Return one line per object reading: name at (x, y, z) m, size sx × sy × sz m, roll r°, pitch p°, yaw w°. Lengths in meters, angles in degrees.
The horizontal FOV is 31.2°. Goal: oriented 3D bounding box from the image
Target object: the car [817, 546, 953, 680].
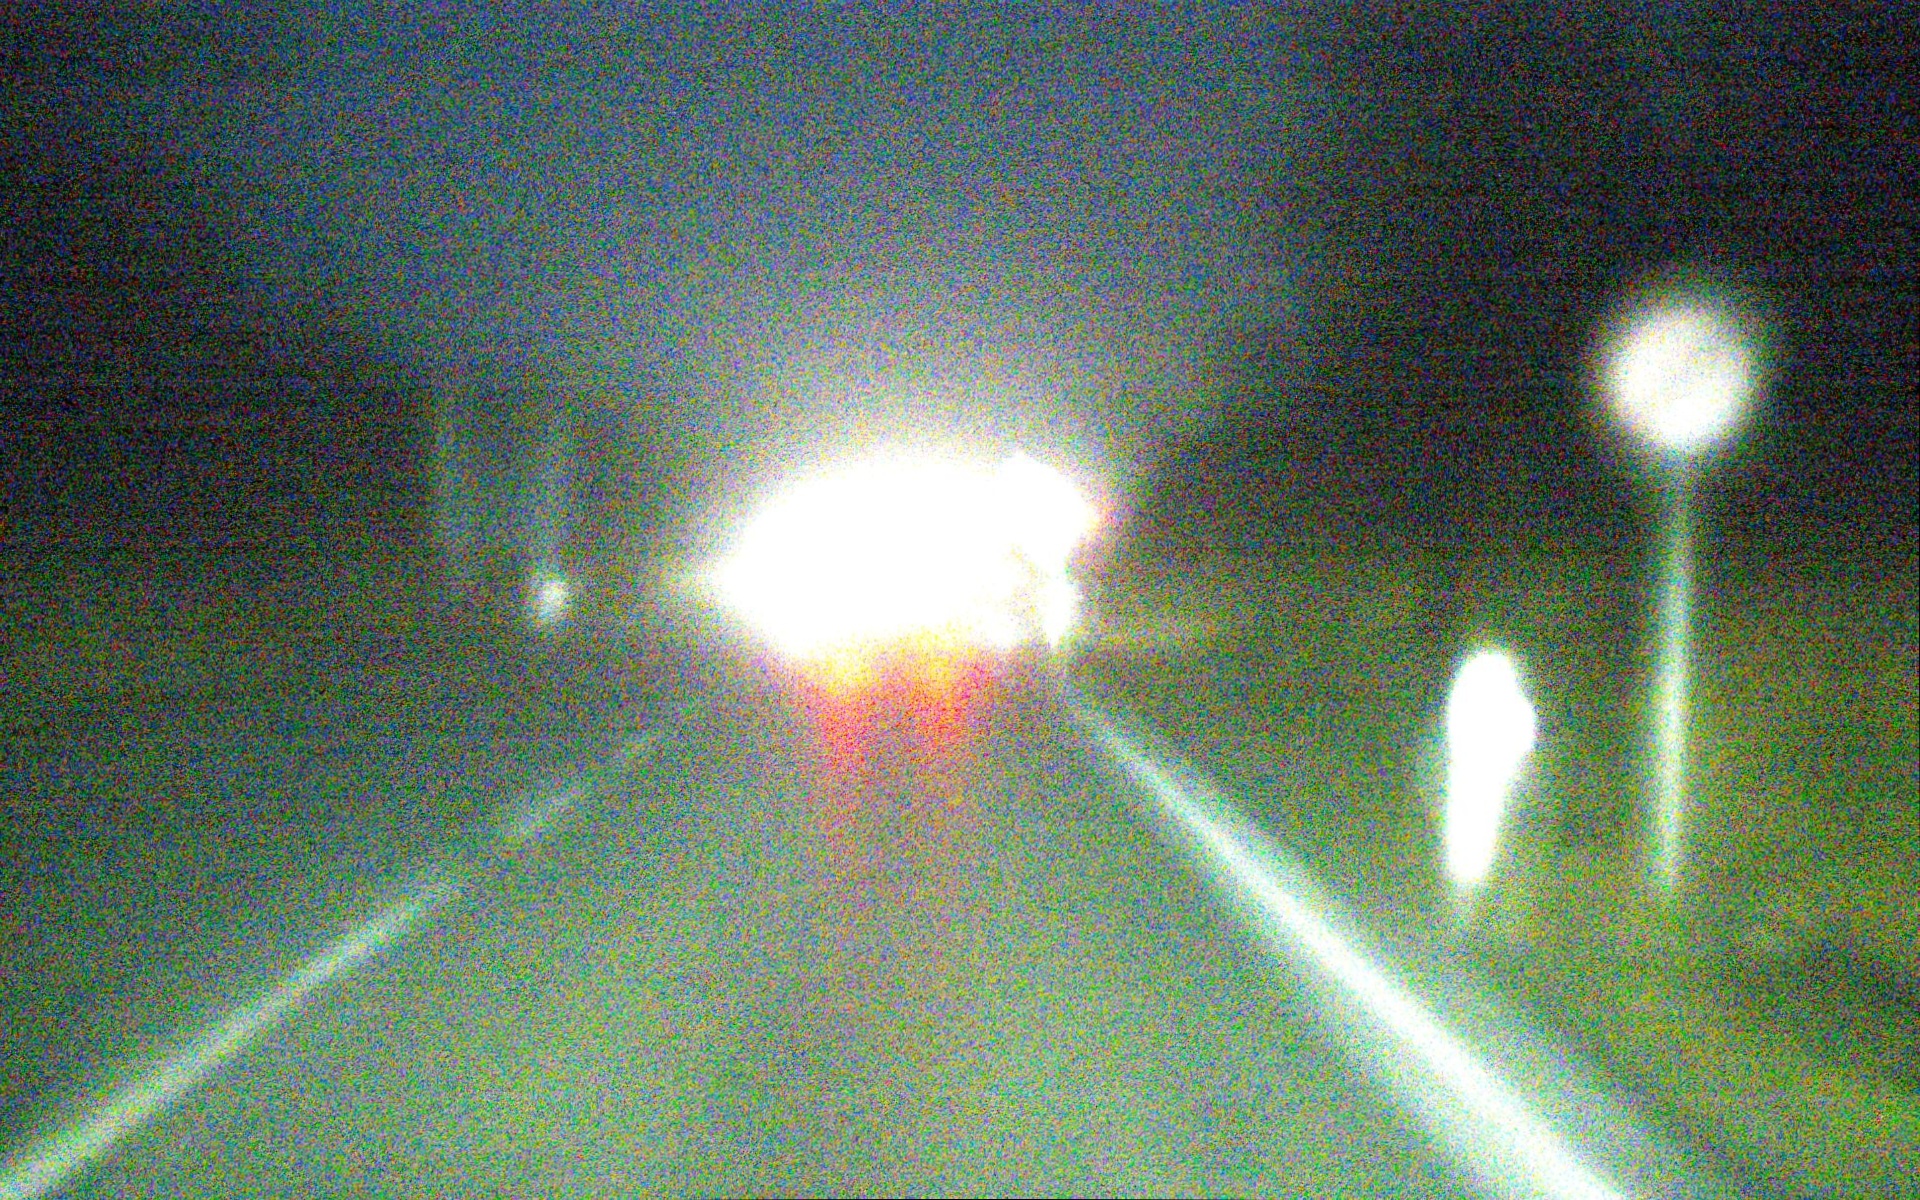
car at (-1.085, 0.148, 49.407) m, size 1.842 × 1.734 × 4.001 m, roll 1°, pitch 2°, yaw -1°
